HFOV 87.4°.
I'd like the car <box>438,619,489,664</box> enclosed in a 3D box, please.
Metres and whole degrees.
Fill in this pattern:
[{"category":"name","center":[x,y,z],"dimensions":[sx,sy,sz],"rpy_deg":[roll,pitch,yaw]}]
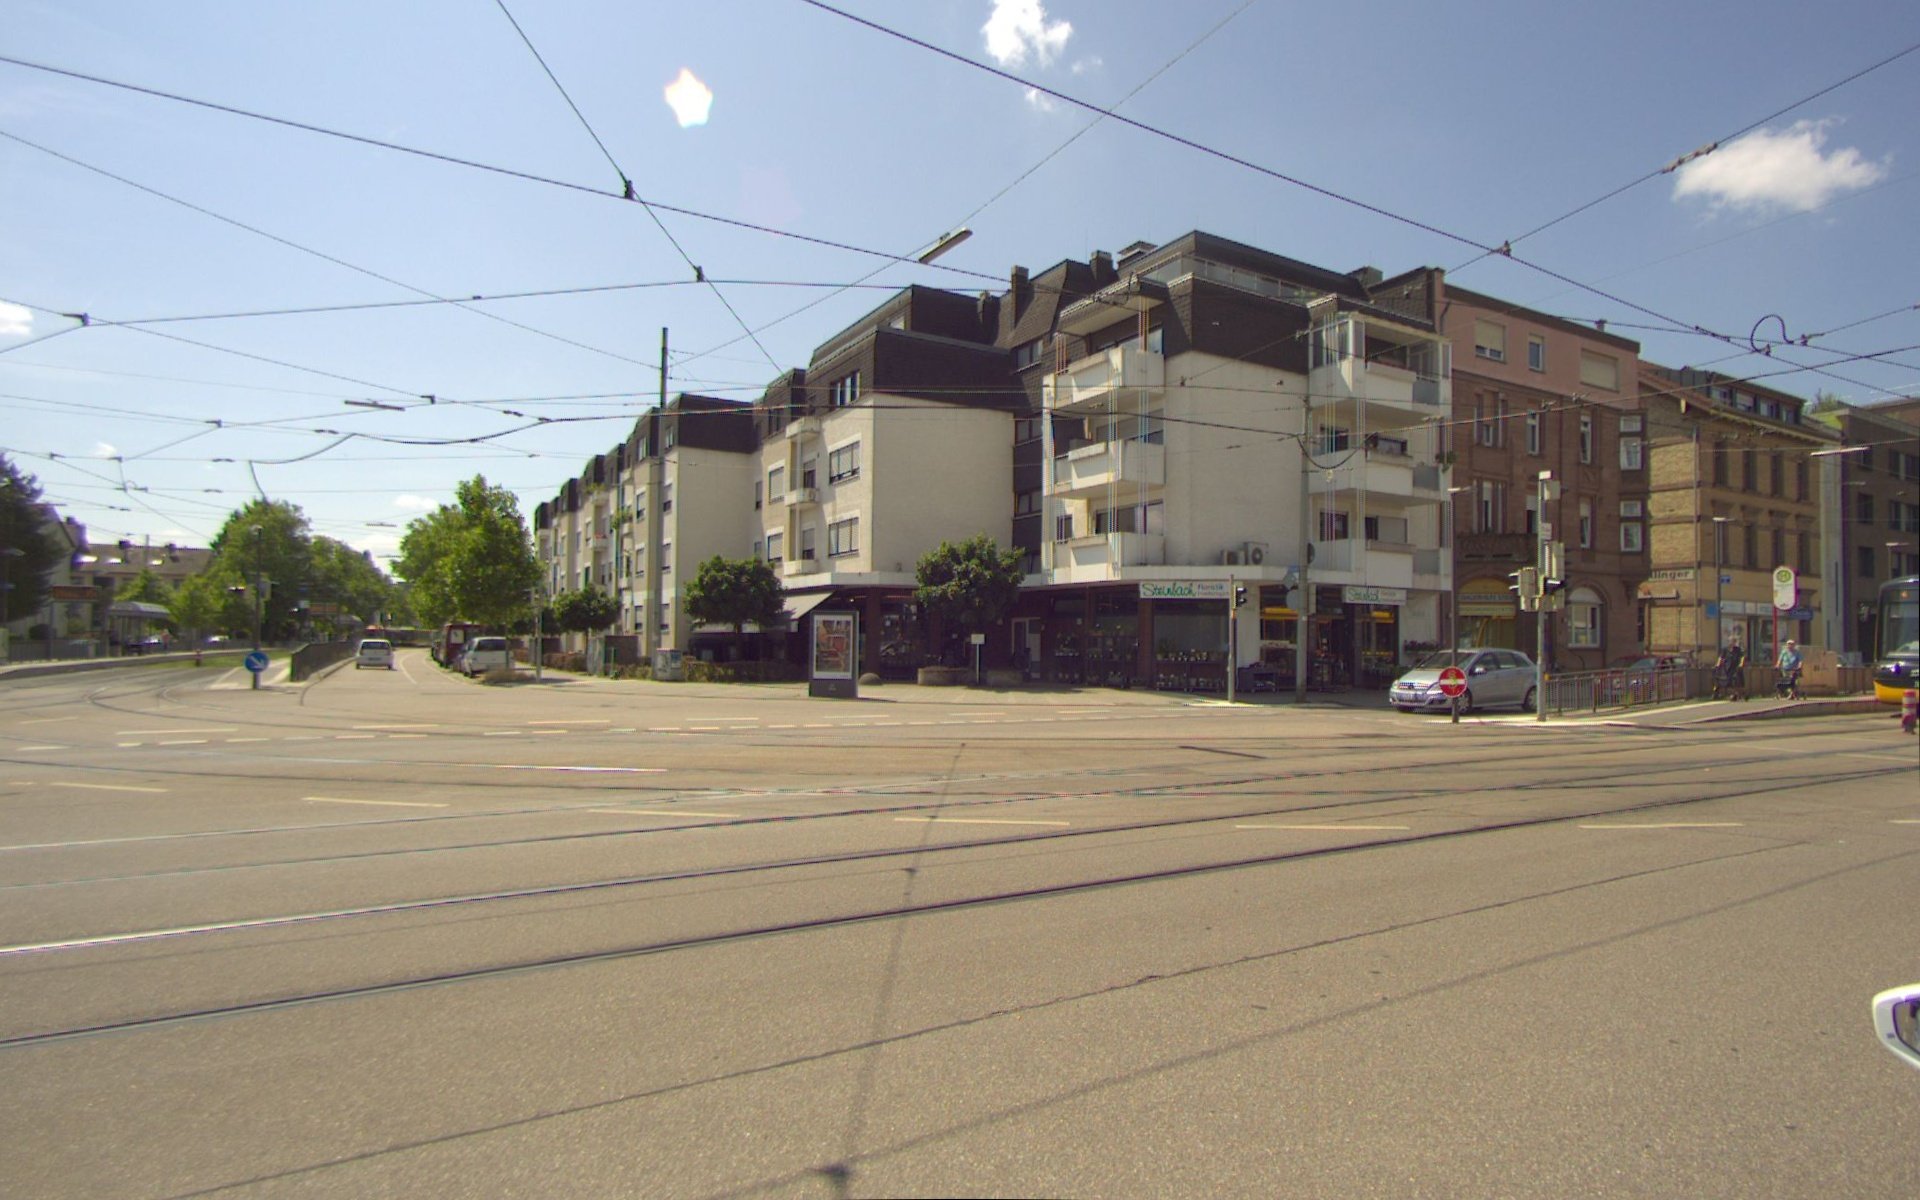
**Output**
[{"category":"car","center":[-28.049,2.352,56.668],"dimensions":[2.190,2.369,5.179],"rpy_deg":[2,-3,-30]}]

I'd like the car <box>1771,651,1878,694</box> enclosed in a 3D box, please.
[{"category":"car","center":[30.941,2.591,35.928],"dimensions":[3.742,1.475,1.645],"rpy_deg":[2,-4,-29]}]

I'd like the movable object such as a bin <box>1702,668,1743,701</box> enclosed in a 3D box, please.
[{"category":"movable object such as a bin","center":[19.068,2.100,25.122],"dimensions":[0.532,0.790,0.671],"rpy_deg":[2,-3,-32]}]

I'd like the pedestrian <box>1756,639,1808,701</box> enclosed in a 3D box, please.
[{"category":"pedestrian","center":[21.407,1.822,26.162],"dimensions":[0.909,1.580,0.782],"rpy_deg":[2,-3,-30]}]

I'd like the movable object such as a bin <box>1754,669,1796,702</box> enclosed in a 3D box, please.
[{"category":"movable object such as a bin","center":[20.971,2.195,25.862],"dimensions":[0.612,0.790,0.671],"rpy_deg":[2,-3,-32]}]

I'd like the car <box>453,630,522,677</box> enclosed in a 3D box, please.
[{"category":"car","center":[-19.747,2.209,41.865],"dimensions":[1.979,1.863,4.779],"rpy_deg":[2,-3,-33]}]

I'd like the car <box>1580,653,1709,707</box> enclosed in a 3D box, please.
[{"category":"car","center":[20.029,2.305,29.364],"dimensions":[3.808,1.463,1.647],"rpy_deg":[2,-3,-30]}]

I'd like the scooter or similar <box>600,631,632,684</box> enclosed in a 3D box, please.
[{"category":"scooter or similar","center":[-12.502,2.072,36.462],"dimensions":[0.611,1.870,1.996],"rpy_deg":[2,-3,-32]}]

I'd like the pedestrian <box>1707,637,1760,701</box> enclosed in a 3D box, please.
[{"category":"pedestrian","center":[19.600,1.728,25.457],"dimensions":[0.909,1.580,0.782],"rpy_deg":[2,-3,-30]}]

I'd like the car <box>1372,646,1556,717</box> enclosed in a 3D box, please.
[{"category":"car","center":[12.654,1.988,25.191],"dimensions":[4.544,1.636,1.730],"rpy_deg":[2,-3,-26]}]

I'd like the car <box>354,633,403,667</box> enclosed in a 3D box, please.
[{"category":"car","center":[-29.810,2.533,51.572],"dimensions":[1.976,1.627,4.786],"rpy_deg":[2,-3,-28]}]

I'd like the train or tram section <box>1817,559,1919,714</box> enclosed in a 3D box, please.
[{"category":"train or tram section","center":[31.042,1.258,29.008],"dimensions":[20.265,3.613,3.235],"rpy_deg":[3,-3,-31]}]
